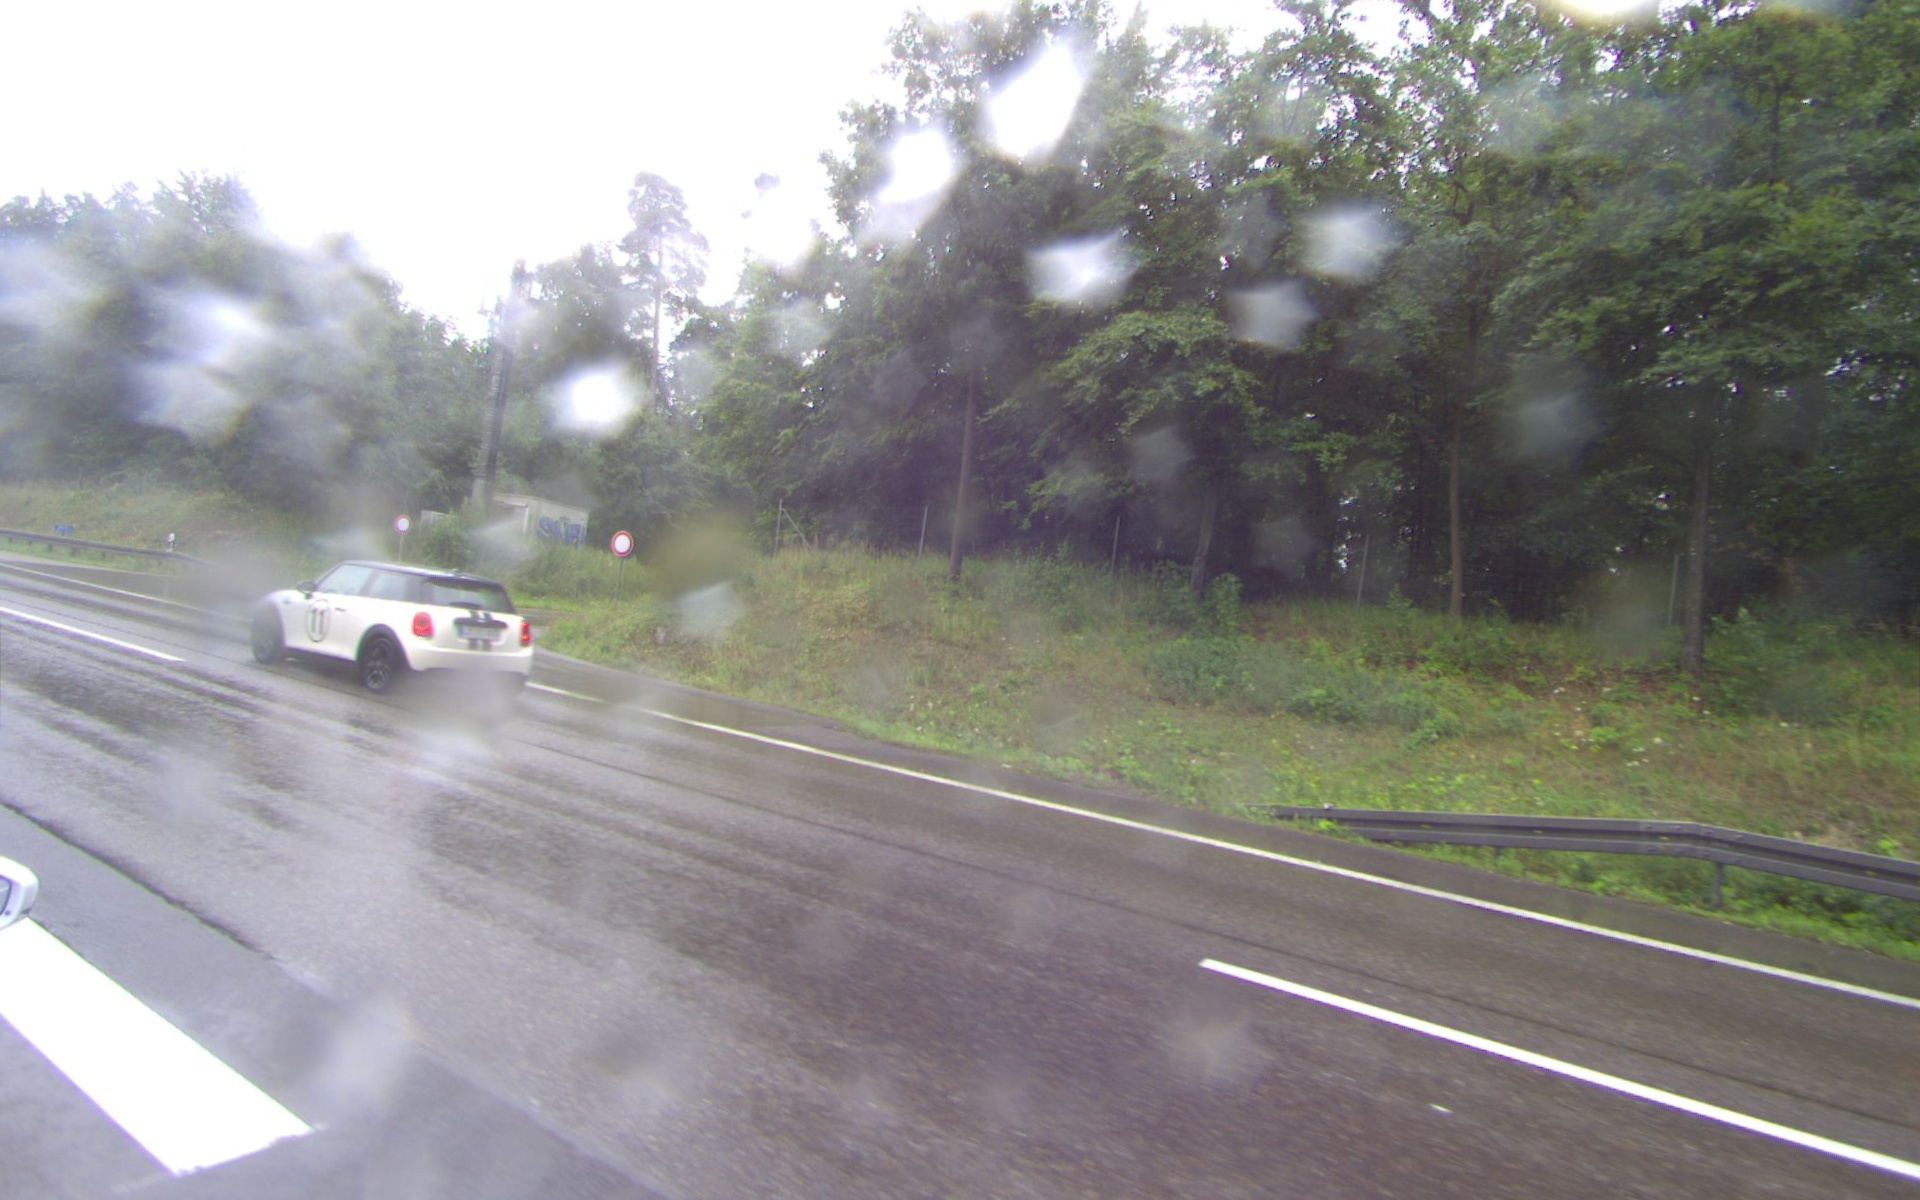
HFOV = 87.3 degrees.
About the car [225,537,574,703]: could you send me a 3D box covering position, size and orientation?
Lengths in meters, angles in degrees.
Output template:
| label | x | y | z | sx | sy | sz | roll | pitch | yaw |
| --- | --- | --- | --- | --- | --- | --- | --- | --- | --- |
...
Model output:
| label | x | y | z | sx | sy | sz | roll | pitch | yaw |
| --- | --- | --- | --- | --- | --- | --- | --- | --- | --- |
| car | -6.871 | 0.215 | 12.223 | 4.158 | 1.423 | 1.794 | 7 | -1 | 32 |
